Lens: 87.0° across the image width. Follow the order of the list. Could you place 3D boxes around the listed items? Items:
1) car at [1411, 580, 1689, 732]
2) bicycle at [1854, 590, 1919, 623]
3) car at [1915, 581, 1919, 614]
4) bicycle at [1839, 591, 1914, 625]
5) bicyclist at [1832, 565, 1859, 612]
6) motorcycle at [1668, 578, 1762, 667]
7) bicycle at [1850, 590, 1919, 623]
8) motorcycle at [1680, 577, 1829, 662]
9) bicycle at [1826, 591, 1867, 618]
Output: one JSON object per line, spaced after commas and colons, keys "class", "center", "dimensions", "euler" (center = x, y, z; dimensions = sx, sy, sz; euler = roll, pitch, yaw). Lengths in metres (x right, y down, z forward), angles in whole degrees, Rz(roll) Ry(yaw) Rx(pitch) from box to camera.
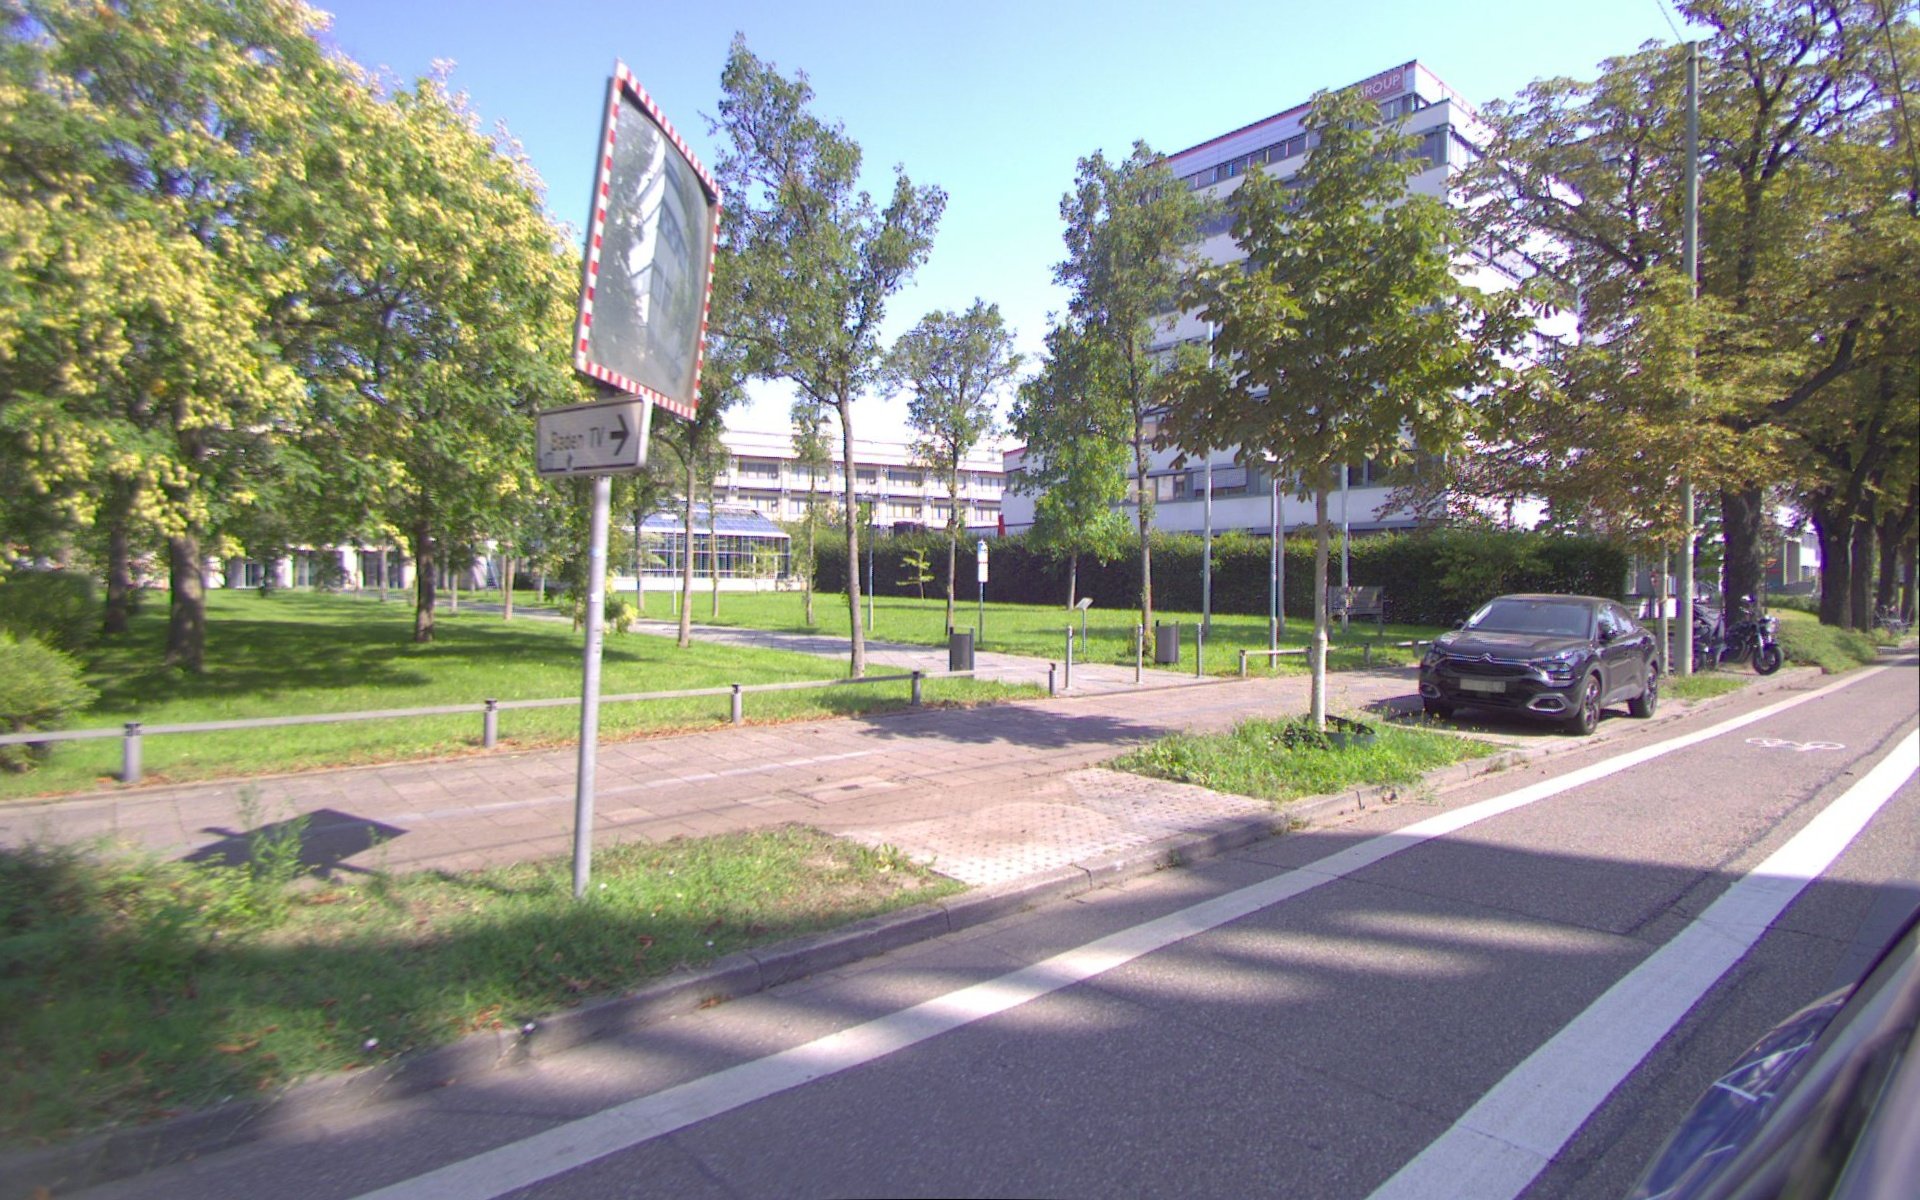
{"class": "car", "center": [7.491, 0.532, 12.636], "dimensions": [4.532, 1.534, 1.758], "euler": [-1, 2, -43]}
{"class": "bicycle", "center": [32.433, 0.213, 35.315], "dimensions": [0.531, 1.063, 1.774], "euler": [0, 2, -42]}
{"class": "car", "center": [45.471, -0.117, 46.630], "dimensions": [4.201, 1.480, 1.758], "euler": [-1, 2, -42]}
{"class": "bicycle", "center": [30.108, 0.258, 33.260], "dimensions": [0.531, 1.063, 1.774], "euler": [0, 2, -42]}
{"class": "bicyclist", "center": [39.070, -0.524, 44.638], "dimensions": [1.253, 2.039, 0.781], "euler": [-1, 0, -44]}
{"class": "motorcycle", "center": [13.893, 0.366, 18.702], "dimensions": [0.843, 1.535, 2.435], "euler": [0, 1, 24]}
{"class": "bicycle", "center": [31.909, 0.222, 34.903], "dimensions": [0.531, 1.063, 1.774], "euler": [0, 2, -42]}
{"class": "motorcycle", "center": [15.311, 0.343, 19.615], "dimensions": [0.836, 1.535, 2.457], "euler": [0, 1, -3]}
{"class": "bicycle", "center": [39.150, 0.173, 44.698], "dimensions": [2.494, 1.139, 1.136], "euler": [-1, 1, -43]}
